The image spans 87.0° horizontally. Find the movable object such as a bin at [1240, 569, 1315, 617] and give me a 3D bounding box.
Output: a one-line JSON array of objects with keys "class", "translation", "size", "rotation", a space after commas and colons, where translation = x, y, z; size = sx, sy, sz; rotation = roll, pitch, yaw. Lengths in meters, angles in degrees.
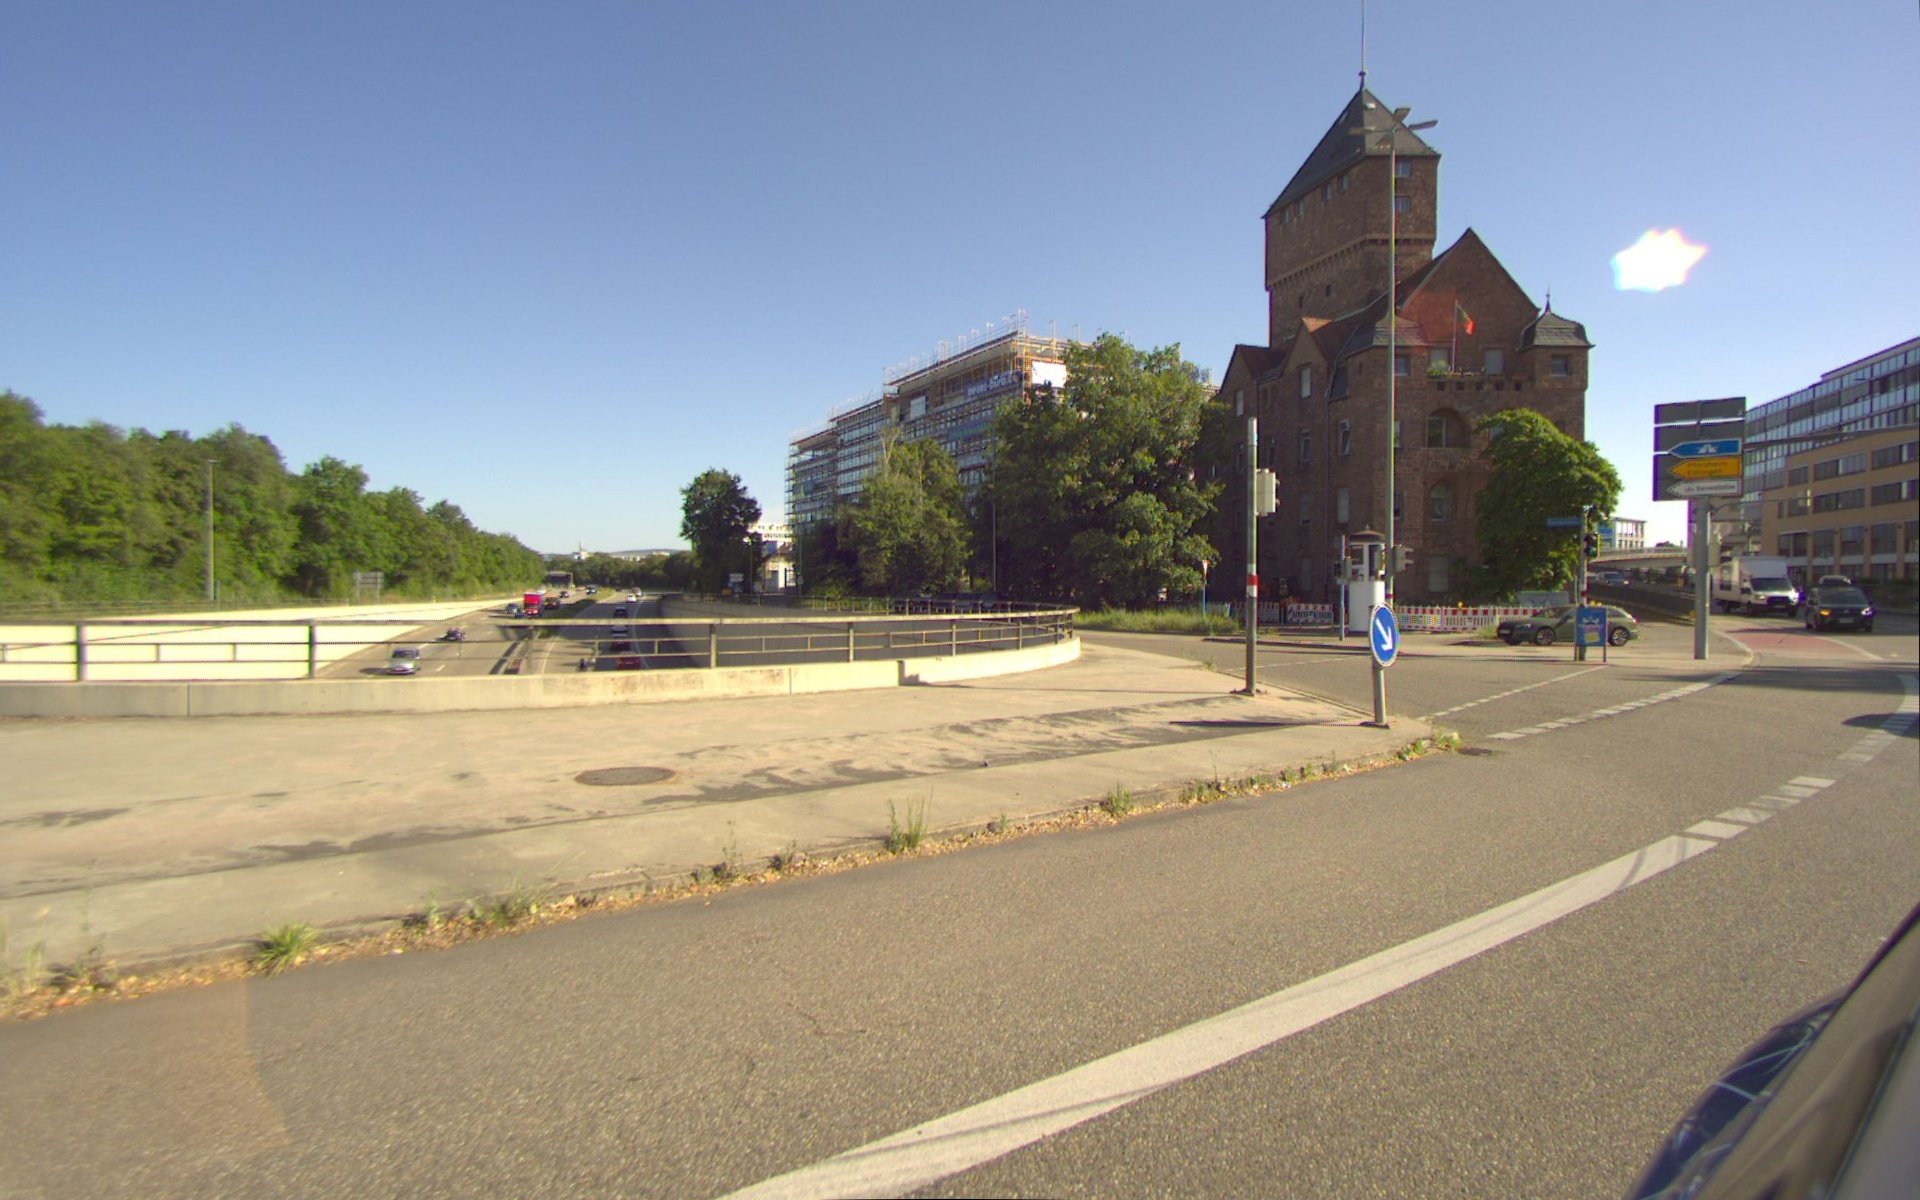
[{"class": "movable object such as a bin", "translation": [16.997, -0.397, 54.389], "size": [1.958, 2.439, 4.009], "rotation": [0, 1, -16]}]

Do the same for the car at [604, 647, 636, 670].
[{"class": "car", "translation": [-25.626, 4.393, 76.266], "size": [1.959, 1.415, 4.008], "rotation": [-2, 1, -22]}]

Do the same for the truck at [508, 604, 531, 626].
[{"class": "truck", "translation": [-51.869, 1.700, 119.277], "size": [2.239, 2.416, 5.395], "rotation": [-2, 1, -22]}]

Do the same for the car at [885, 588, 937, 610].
[{"class": "car", "translation": [-3.406, -0.066, 70.873], "size": [1.982, 1.472, 3.743], "rotation": [1, 1, 29]}]

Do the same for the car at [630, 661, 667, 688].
[{"class": "car", "translation": [-20.861, 4.954, 67.704], "size": [1.959, 1.415, 4.008], "rotation": [-2, 1, -22]}]

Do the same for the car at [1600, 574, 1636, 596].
[{"class": "car", "translation": [55.255, -1.258, 85.060], "size": [1.738, 1.781, 4.747], "rotation": [1, 1, 24]}]

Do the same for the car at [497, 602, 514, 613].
[{"class": "car", "translation": [-65.774, 1.103, 146.515], "size": [1.959, 1.415, 4.008], "rotation": [-2, 1, -22]}]

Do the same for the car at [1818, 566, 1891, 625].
[{"class": "car", "translation": [37.094, -0.215, 42.057], "size": [1.941, 2.290, 4.720], "rotation": [1, 1, 38]}]

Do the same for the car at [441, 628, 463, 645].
[{"class": "car", "translation": [-50.642, 3.623, 100.920], "size": [1.823, 1.583, 4.007], "rotation": [0, 0, -24]}]

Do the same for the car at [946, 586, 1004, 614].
[{"class": "car", "translation": [0.920, -0.004, 60.193], "size": [1.982, 1.581, 3.743], "rotation": [1, 1, 29]}]

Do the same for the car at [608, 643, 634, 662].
[{"class": "car", "translation": [-30.839, 4.754, 92.030], "size": [1.959, 1.415, 4.008], "rotation": [-2, 1, -22]}]

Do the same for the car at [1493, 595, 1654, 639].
[{"class": "car", "translation": [21.324, 0.599, 35.263], "size": [4.542, 1.489, 1.882], "rotation": [0, -1, -6]}]

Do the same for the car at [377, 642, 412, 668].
[{"class": "car", "translation": [-40.696, 3.946, 72.928], "size": [1.959, 1.594, 4.006], "rotation": [0, 0, -26]}]

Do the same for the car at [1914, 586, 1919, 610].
[{"class": "car", "translation": [61.651, -0.091, 62.826], "size": [1.855, 1.542, 4.138], "rotation": [0, 1, 17]}]

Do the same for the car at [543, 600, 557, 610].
[{"class": "car", "translation": [-65.156, 0.763, 160.802], "size": [1.959, 1.415, 4.008], "rotation": [-2, 1, -22]}]

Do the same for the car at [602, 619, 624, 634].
[{"class": "car", "translation": [-38.167, 2.869, 111.308], "size": [1.959, 1.415, 4.008], "rotation": [-2, 1, -22]}]

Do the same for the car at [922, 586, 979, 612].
[{"class": "car", "translation": [-0.569, -0.108, 63.787], "size": [1.982, 1.581, 3.743], "rotation": [1, 1, 29]}]

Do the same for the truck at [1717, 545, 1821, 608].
[{"class": "truck", "translation": [43.726, -1.245, 54.945], "size": [2.475, 3.167, 6.909], "rotation": [0, 1, 22]}]

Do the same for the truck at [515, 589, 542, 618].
[{"class": "truck", "translation": [-59.107, 0.420, 138.696], "size": [2.527, 3.770, 10.274], "rotation": [-2, 1, -19]}]

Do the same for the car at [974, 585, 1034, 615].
[{"class": "car", "translation": [2.542, -0.024, 57.372], "size": [1.982, 1.581, 3.743], "rotation": [1, 1, 29]}]

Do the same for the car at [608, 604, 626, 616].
[{"class": "car", "translation": [-45.541, 1.302, 134.403], "size": [1.959, 1.415, 4.008], "rotation": [-2, 1, -22]}]

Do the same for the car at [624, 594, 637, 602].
[{"class": "car", "translation": [-62.824, -0.305, 192.757], "size": [1.959, 1.415, 4.008], "rotation": [-2, 1, -22]}]
